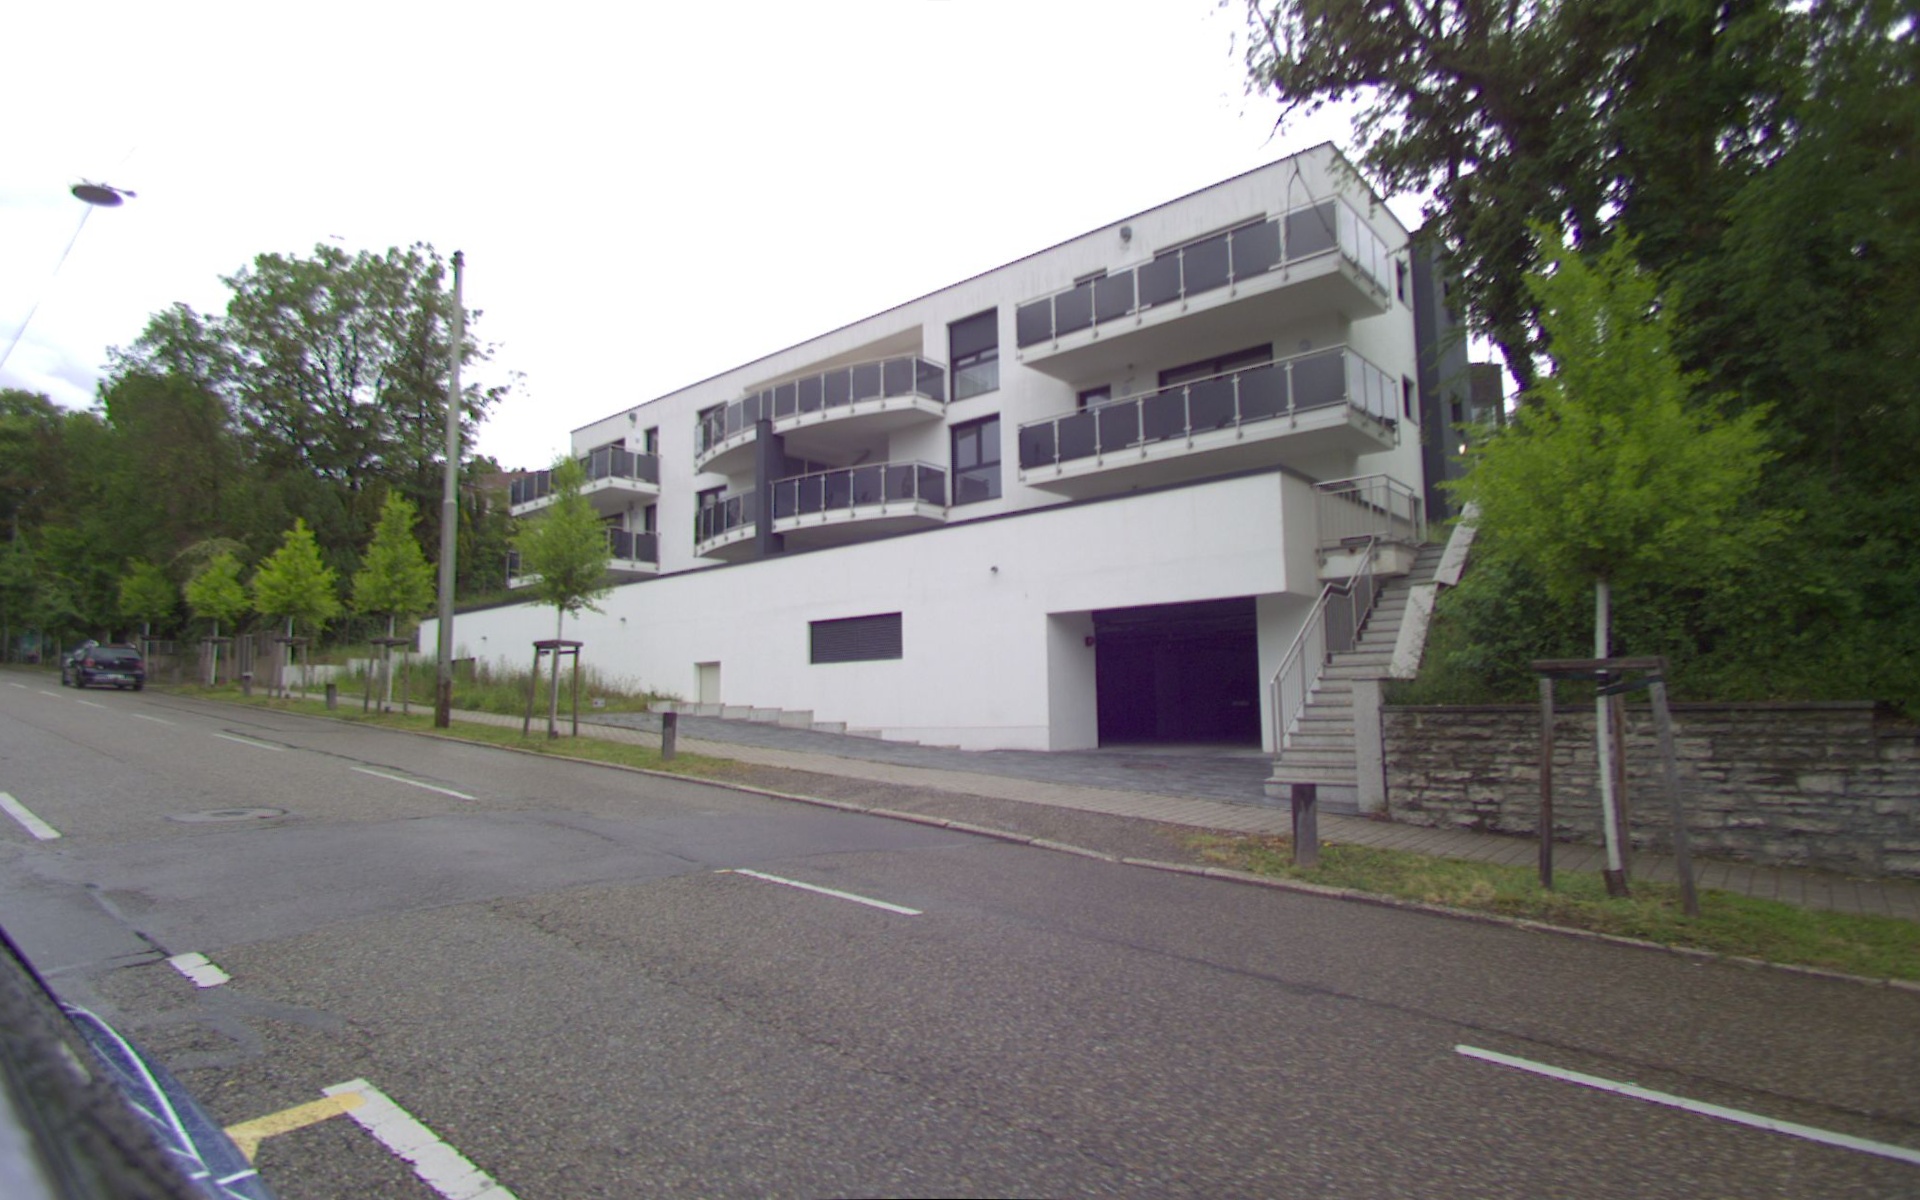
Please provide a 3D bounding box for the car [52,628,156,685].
[{"bbox_3d":[-27.111,1.764,32.012,3.915,1.561,1.728,-1,-8,40],"label":"car"}]
